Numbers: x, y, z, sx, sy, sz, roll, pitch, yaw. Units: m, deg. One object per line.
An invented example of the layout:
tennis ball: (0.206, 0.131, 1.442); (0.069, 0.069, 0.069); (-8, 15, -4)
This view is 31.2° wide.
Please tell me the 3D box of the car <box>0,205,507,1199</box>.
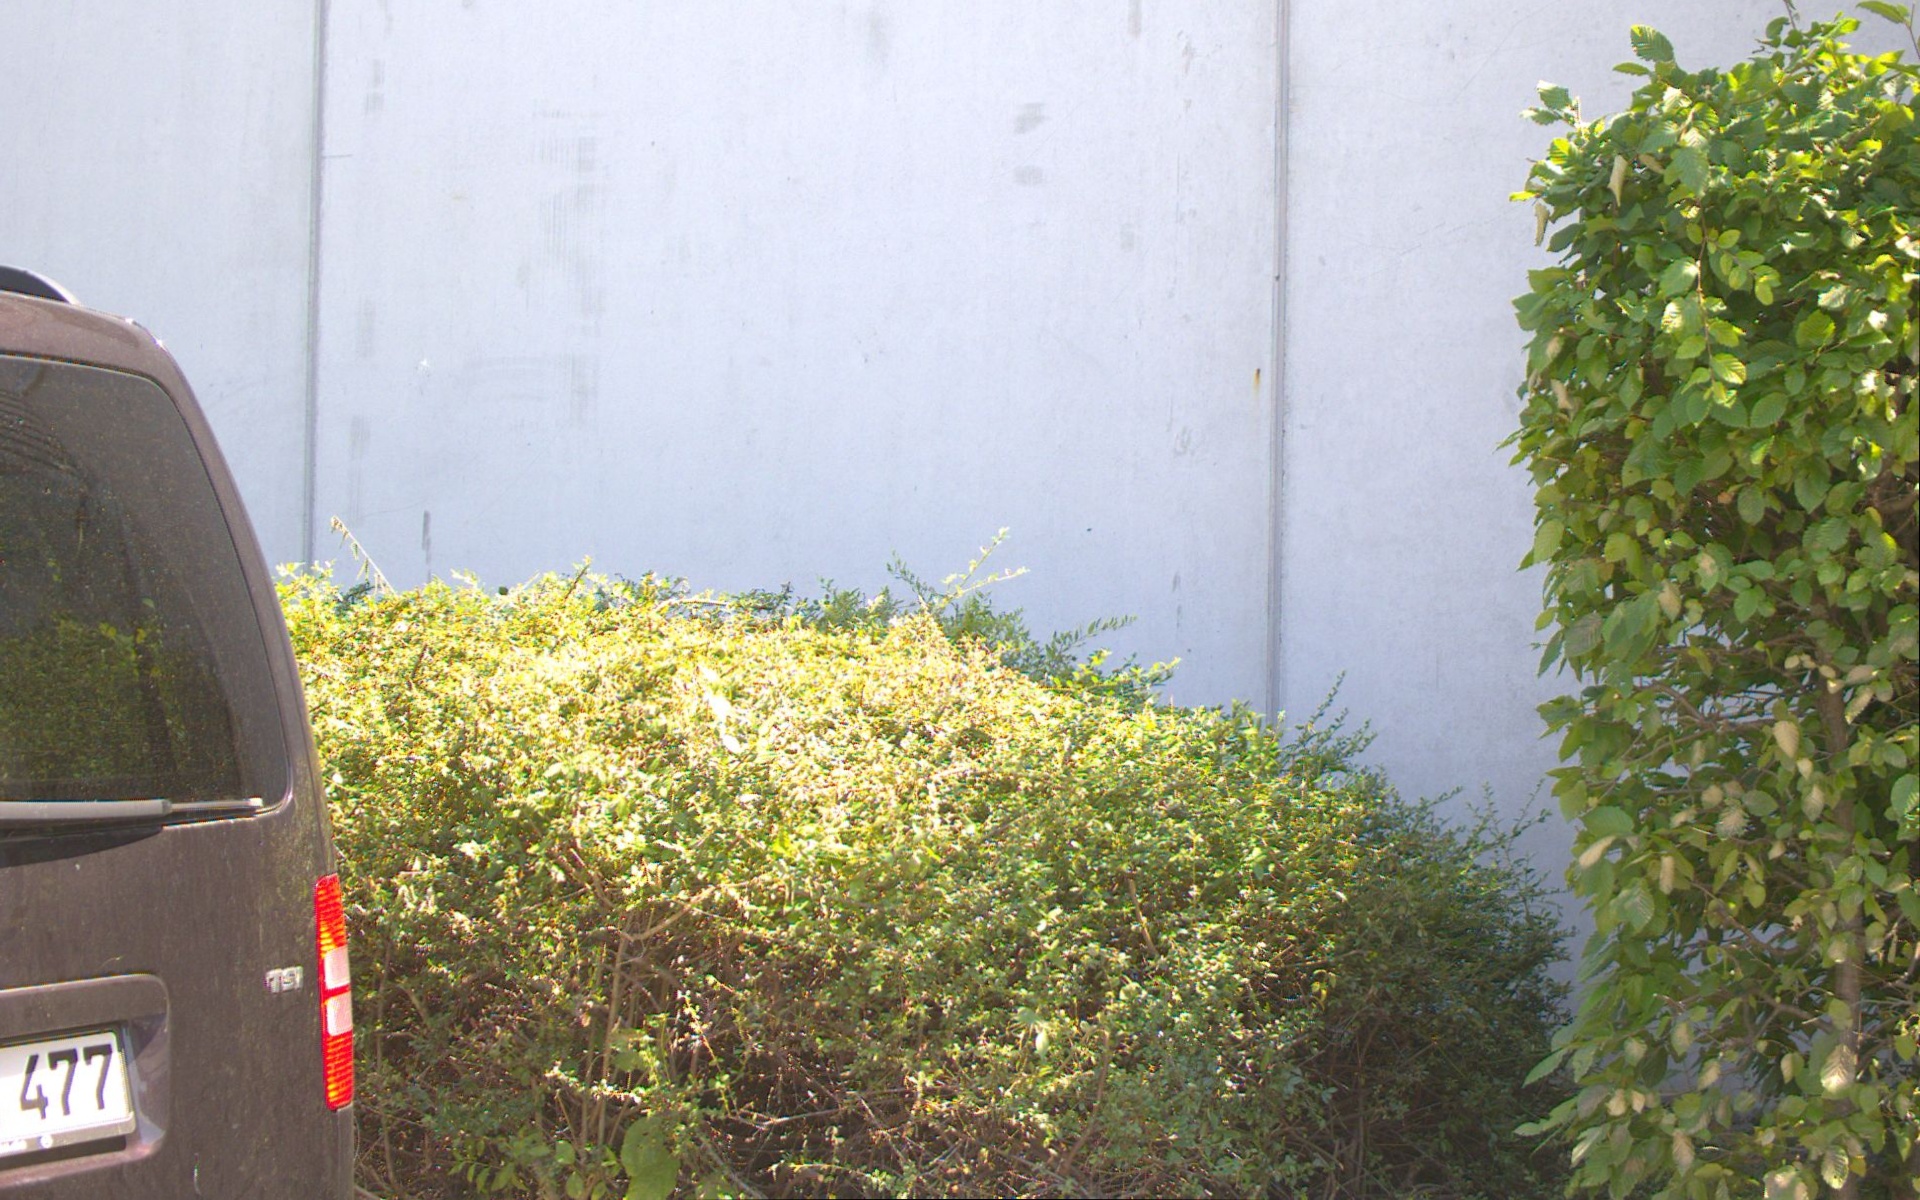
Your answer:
car: (-2.739, 0.481, 4.849); (4.066, 1.877, 1.675); (1, 1, 34)
